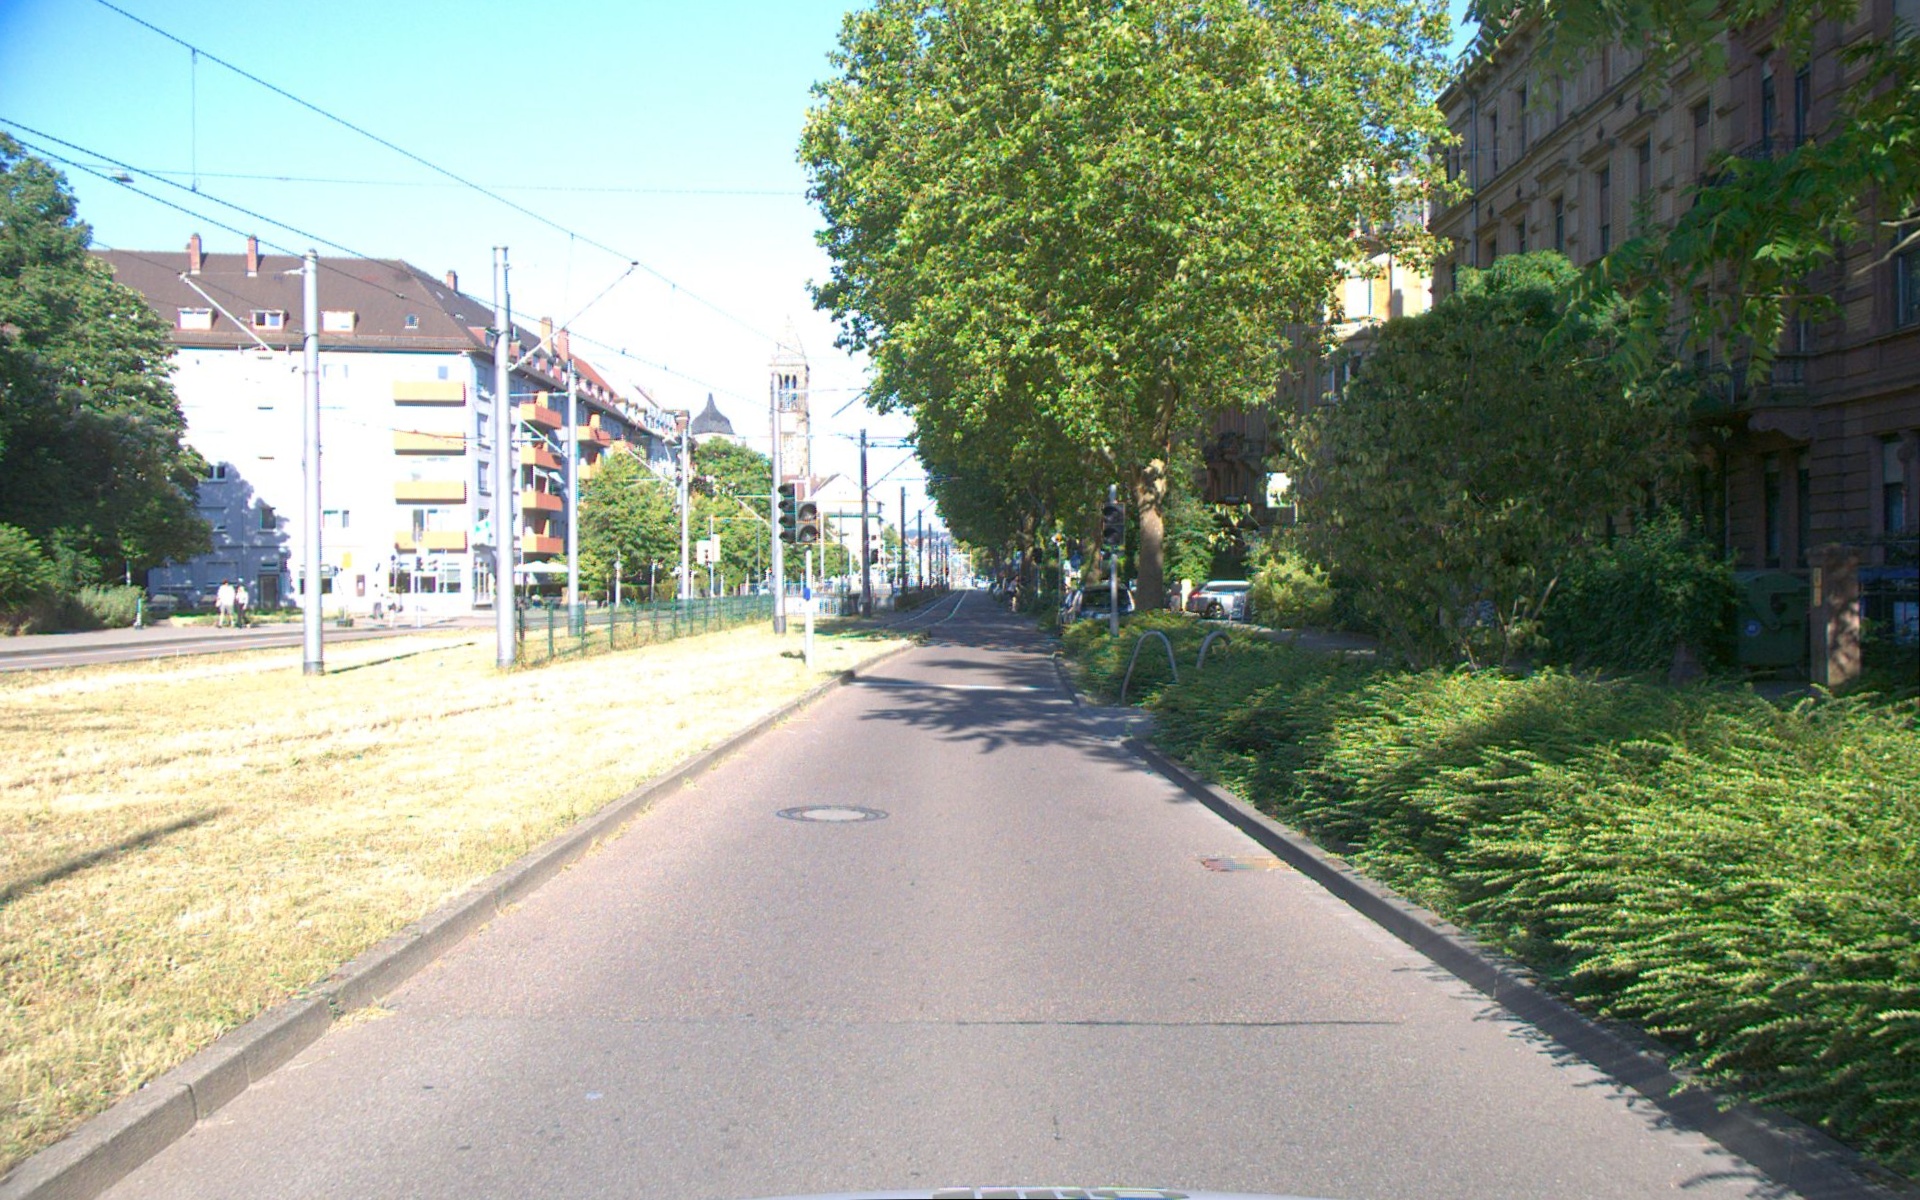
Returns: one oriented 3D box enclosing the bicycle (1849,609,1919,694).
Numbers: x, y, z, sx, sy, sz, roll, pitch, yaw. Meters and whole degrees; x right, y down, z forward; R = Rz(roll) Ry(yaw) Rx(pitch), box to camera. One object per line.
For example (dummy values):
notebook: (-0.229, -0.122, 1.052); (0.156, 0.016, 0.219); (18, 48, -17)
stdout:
bicycle: (10.175, 0.555, 18.041); (0.753, 0.868, 0.375); (-2, 3, -3)

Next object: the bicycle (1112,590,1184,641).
bicycle: (4.239, 0.340, 37.295); (1.579, 1.043, 0.537); (-4, 4, -29)

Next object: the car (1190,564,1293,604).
car: (11.017, -0.649, 64.805); (3.902, 1.445, 2.002); (-1, 1, 9)

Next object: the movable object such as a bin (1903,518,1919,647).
movable object such as a bin: (13.197, -0.241, 22.120); (0.739, 1.722, 0.743); (-2, 3, -2)

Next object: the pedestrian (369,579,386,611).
pedestrian: (-28.207, -0.238, 80.082); (0.583, 1.493, 0.907); (-4, 4, -29)

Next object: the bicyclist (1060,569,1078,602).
bicyclist: (5.374, -0.706, 81.620); (0.735, 1.584, 0.572); (-2, 3, -8)

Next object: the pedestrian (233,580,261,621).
pedestrian: (-27.103, 0.017, 62.872); (0.577, 1.493, 0.916); (-2, 3, 1)

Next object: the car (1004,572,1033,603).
car: (4.177, -0.871, 118.282); (1.952, 2.144, 4.000); (1, 0, 1)

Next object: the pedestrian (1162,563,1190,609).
pedestrian: (8.610, -0.569, 66.040); (0.798, 1.718, 1.079); (-2, 3, -8)

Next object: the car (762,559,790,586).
car: (-15.103, -2.277, 135.947); (1.954, 2.048, 4.000); (-2, 4, -2)

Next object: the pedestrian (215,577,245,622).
pedestrian: (-27.742, -0.030, 62.861); (0.630, 1.626, 0.898); (-2, 3, 1)

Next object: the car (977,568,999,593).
car: (2.596, -1.782, 150.843); (1.952, 2.144, 4.000); (1, 0, 1)

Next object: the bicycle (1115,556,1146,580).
bicycle: (7.542, -1.433, 73.323); (0.798, 0.973, 2.314); (-2, 4, -8)

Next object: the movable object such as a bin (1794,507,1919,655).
movable object such as a bin: (13.819, -0.315, 24.247); (1.514, 2.031, 3.231); (-2, 1, 0)

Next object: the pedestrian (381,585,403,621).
pedestrian: (-24.475, 0.110, 71.259); (0.674, 1.493, 0.591); (-2, 3, 4)

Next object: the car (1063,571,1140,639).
car: (3.483, 0.075, 41.243); (1.609, 1.537, 4.183); (-2, 1, 1)

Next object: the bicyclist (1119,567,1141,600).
bicyclist: (7.551, -0.737, 73.448); (0.798, 1.429, 0.823); (-2, 3, -8)

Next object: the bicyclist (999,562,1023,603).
bicyclist: (2.488, -0.863, 80.767); (1.118, 1.923, 0.682); (-2, 3, 0)

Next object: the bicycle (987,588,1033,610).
bicycle: (2.435, -0.050, 80.807); (2.195, 0.993, 0.682); (-1, 3, 0)

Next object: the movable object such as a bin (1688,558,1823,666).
movable object such as a bin: (10.868, 0.147, 22.646); (1.207, 1.406, 1.257); (-2, 1, 0)

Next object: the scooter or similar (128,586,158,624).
scooter or similar: (-29.436, 0.169, 59.603); (0.393, 1.282, 1.231); (-2, 3, 1)
